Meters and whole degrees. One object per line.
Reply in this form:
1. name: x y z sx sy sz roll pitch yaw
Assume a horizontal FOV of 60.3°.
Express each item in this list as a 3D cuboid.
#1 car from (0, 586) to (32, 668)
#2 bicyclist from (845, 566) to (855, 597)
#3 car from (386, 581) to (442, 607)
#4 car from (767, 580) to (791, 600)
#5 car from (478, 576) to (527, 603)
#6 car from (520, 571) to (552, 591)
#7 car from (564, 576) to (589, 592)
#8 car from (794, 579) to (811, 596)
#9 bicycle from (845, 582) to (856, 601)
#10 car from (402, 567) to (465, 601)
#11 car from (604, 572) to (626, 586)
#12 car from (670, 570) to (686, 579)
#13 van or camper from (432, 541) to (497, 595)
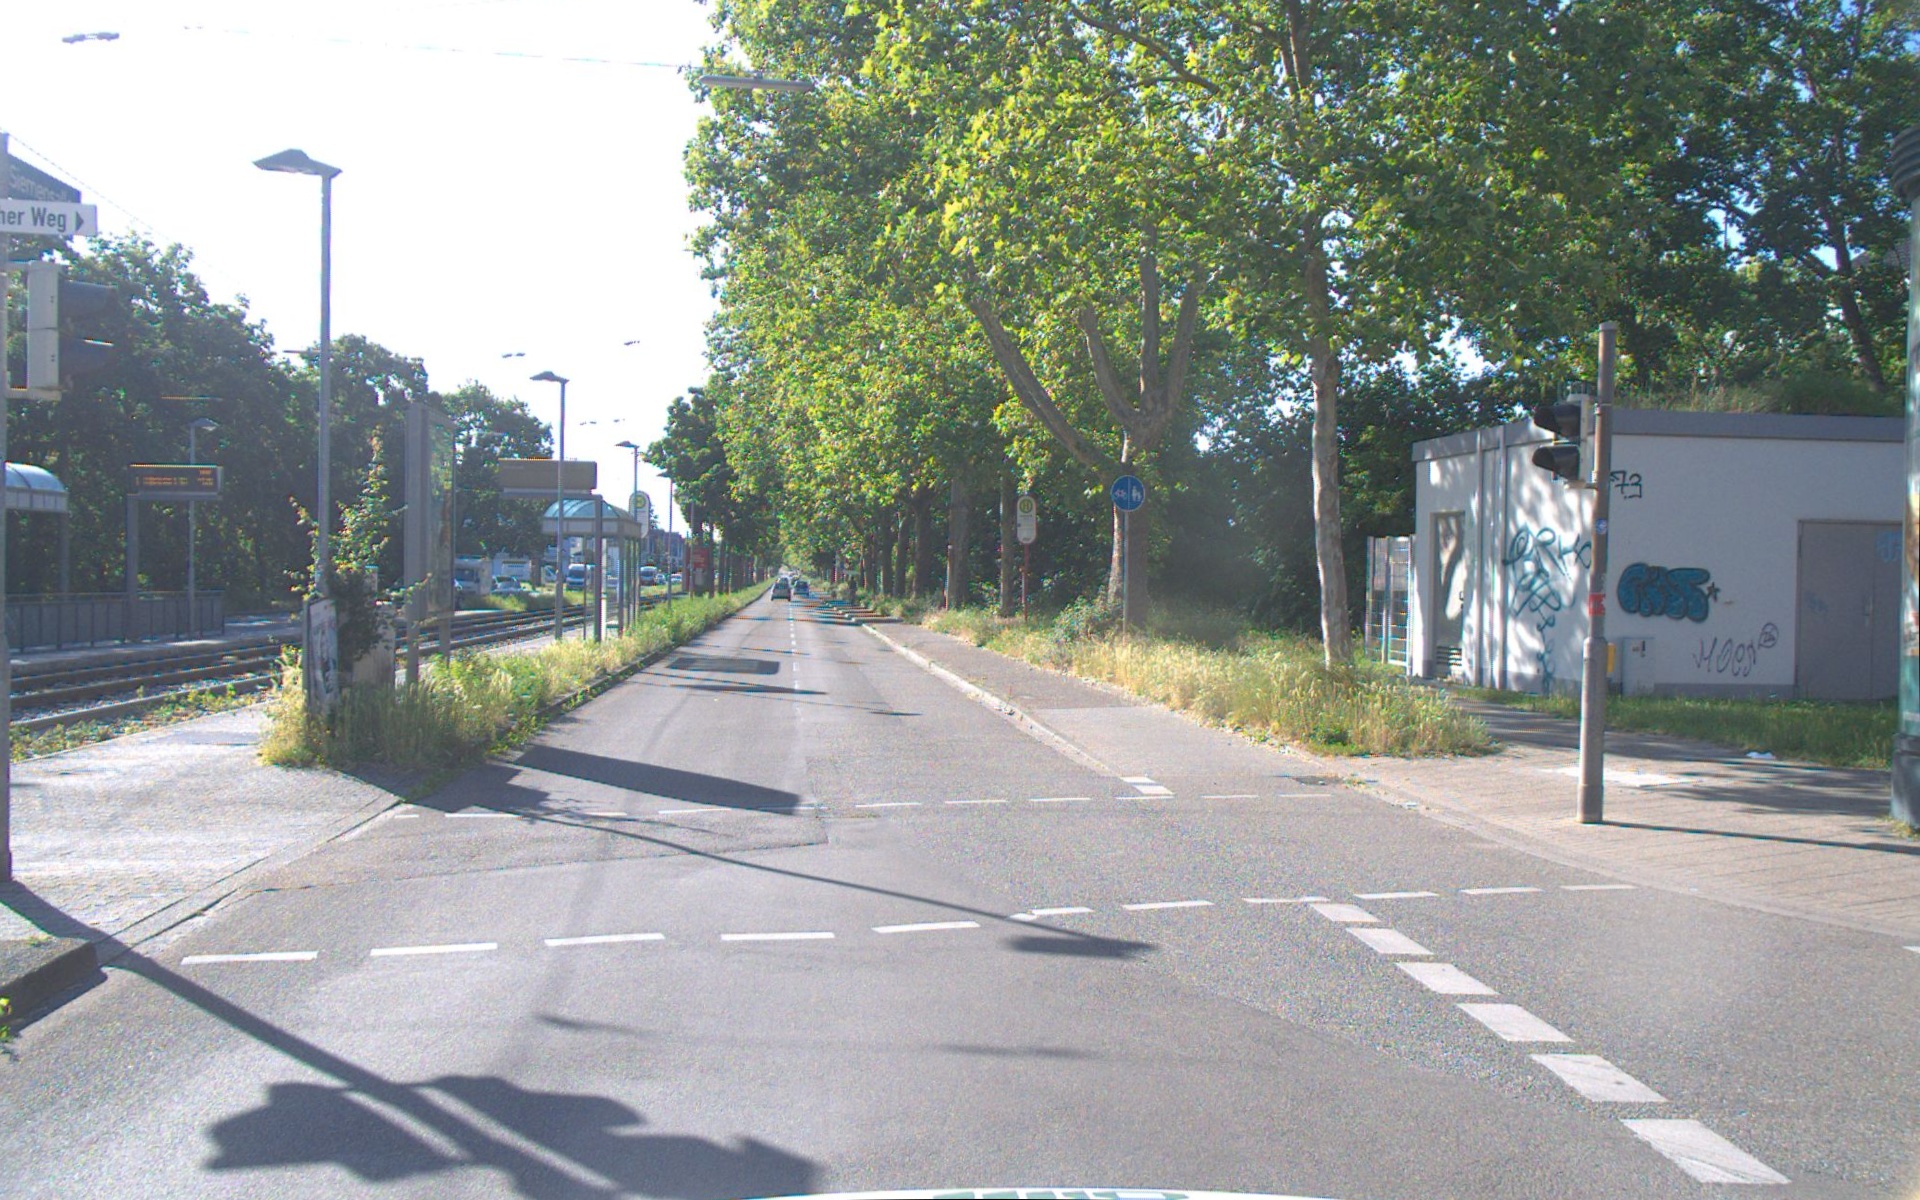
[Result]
1. car: -18.445 0.511 29.606 1.770 1.492 3.995 1 1 -7
2. bicyclist: -6.443 -1.069 97.181 0.524 1.800 0.712 0 1 -8
3. car: -28.865 -0.319 87.541 1.883 1.288 3.997 0 1 -4
4. car: -14.380 -0.774 131.657 1.831 1.512 3.551 1 1 -6
5. car: -26.422 -0.646 95.692 1.955 1.495 4.372 1 1 -5
6. car: -33.954 -1.542 132.519 1.883 1.604 3.997 0 1 -5
7. car: -36.097 -1.518 155.764 1.710 1.522 3.589 0 1 -5
8. car: -16.139 -1.278 169.548 1.716 1.632 3.746 2 1 -6
9. bicycle: -6.432 -0.502 97.105 0.526 1.085 1.431 0 1 -8
10. car: -23.947 -0.754 75.330 1.956 1.495 4.370 1 1 -7
11. car: -37.088 -2.290 177.871 1.883 1.463 3.997 0 1 -5
12. car: -38.257 -3.475 224.545 1.884 1.288 3.995 0 1 -7
13. van or camper: -29.995 -1.934 100.277 2.540 3.160 6.780 0 1 -6
